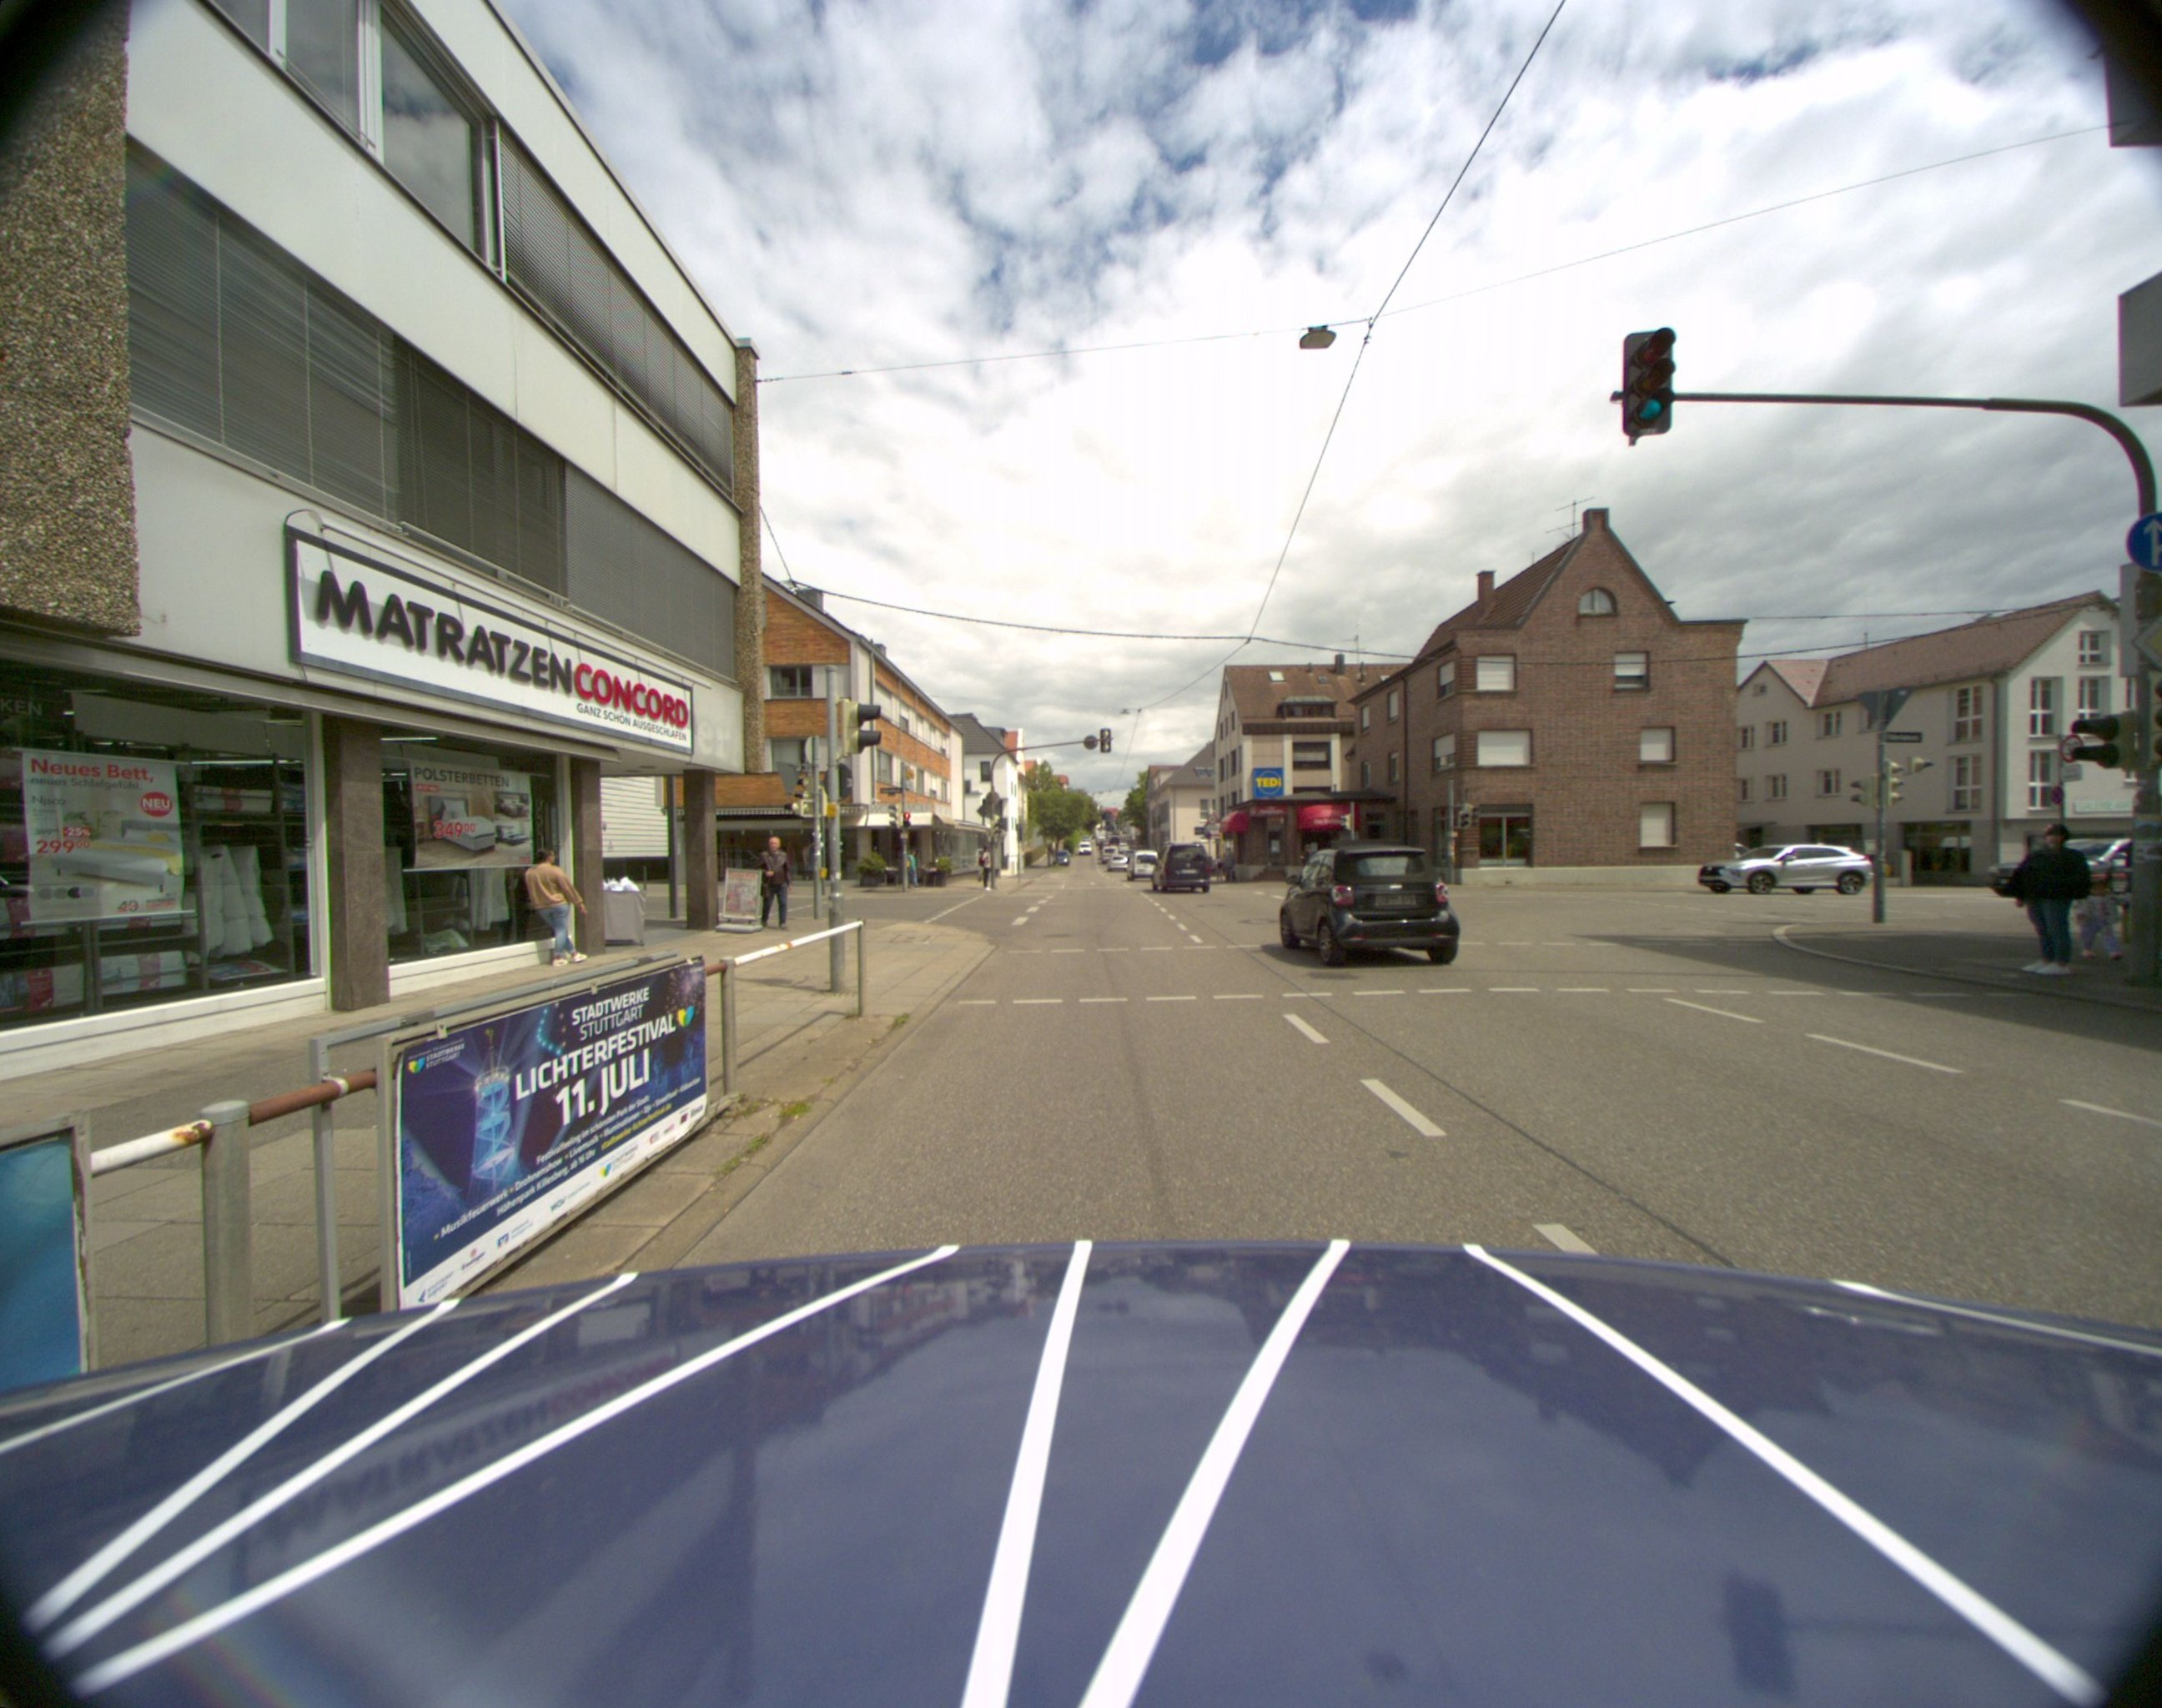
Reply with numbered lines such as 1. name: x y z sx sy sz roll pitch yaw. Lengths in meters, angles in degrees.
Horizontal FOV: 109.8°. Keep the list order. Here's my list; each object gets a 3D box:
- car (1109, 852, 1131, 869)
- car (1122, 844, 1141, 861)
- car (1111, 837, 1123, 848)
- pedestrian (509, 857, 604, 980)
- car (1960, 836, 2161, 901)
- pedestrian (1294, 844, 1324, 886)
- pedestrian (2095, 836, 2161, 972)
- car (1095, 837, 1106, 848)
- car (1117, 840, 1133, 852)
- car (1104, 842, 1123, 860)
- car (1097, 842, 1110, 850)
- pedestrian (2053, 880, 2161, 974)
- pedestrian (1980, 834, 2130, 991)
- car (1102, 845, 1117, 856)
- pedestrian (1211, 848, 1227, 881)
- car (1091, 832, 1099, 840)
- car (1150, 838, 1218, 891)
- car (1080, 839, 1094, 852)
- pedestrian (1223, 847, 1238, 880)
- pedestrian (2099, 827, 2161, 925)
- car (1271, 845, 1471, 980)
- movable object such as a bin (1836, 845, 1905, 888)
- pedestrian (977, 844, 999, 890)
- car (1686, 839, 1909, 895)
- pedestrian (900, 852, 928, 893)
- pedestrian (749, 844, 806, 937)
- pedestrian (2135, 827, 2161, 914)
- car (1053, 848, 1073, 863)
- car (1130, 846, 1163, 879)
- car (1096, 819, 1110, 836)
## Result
1. car: 3.569 0.605 69.662 1.757 1.478 3.970 0 0 -1
2. car: 6.376 -0.215 95.607 2.110 2.109 4.765 -1 1 1
3. car: 6.845 -2.208 146.620 2.110 2.109 4.765 -1 0 1
4. pedestrian: -6.608 0.793 9.605 0.681 1.490 0.720 0 1 1
5. car: 28.221 0.379 21.485 4.348 1.744 2.000 0 1 1
6. pedestrian: 9.512 0.464 31.667 0.908 1.713 0.849 -1 1 -41
7. pedestrian: 12.833 0.566 8.872 0.820 1.546 0.846 -2 1 7
8. car: 3.647 -2.160 140.100 1.858 1.957 4.192 0 0 -1
9. car: 6.495 -1.204 113.350 2.110 1.778 4.529 -1 1 1
10. car: 3.728 -0.371 88.446 1.982 1.985 5.027 0 0 -1
11. car: 3.714 -1.332 125.581 1.858 1.414 4.192 0 0 -1
12. pedestrian: 12.349 0.859 9.102 0.560 1.051 0.662 -2 1 7
13. pedestrian: 10.627 0.619 8.318 0.719 1.635 0.682 -2 1 6
14. car: 3.724 -0.458 99.820 1.858 1.371 4.271 0 0 -1
15. pedestrian: 7.268 0.545 40.071 0.779 1.685 0.796 0 1 7
16. car: 3.443 -4.353 184.772 1.998 1.654 4.000 0 0 1
17. car: 3.843 0.329 29.257 1.953 1.866 4.876 0 1 0
18. car: 0.856 -1.196 110.093 2.000 1.797 4.764 1 0 -1
19. pedestrian: 7.862 0.506 39.990 0.683 1.706 0.878 0 1 7
20. pedestrian: 19.399 0.383 13.821 0.846 1.730 0.820 -2 1 -19
21. car: 3.865 0.706 10.607 1.681 1.626 2.833 0 0 -1
22. movable object such as a bin: 31.488 0.479 30.321 1.519 1.615 1.145 -2 1 4
23. pedestrian: -3.811 0.522 31.110 0.581 1.820 0.882 1 1 17
24. car: 23.301 0.408 24.898 5.254 1.758 2.001 0 0 4
25. pedestrian: -6.433 0.697 29.243 0.820 1.517 0.778 -1 1 -31
26. pedestrian: -5.574 0.652 14.001 0.797 1.661 0.806 0 1 -8
27. pedestrian: 20.852 0.296 14.301 0.845 1.641 0.822 -2 1 4
28. car: -1.981 0.117 84.227 1.998 1.654 4.000 0 0 1
29. car: 4.050 0.502 47.353 1.819 1.919 4.112 0 0 1
30. car: 4.488 -5.350 155.103 2.428 3.409 7.636 0 0 -1
